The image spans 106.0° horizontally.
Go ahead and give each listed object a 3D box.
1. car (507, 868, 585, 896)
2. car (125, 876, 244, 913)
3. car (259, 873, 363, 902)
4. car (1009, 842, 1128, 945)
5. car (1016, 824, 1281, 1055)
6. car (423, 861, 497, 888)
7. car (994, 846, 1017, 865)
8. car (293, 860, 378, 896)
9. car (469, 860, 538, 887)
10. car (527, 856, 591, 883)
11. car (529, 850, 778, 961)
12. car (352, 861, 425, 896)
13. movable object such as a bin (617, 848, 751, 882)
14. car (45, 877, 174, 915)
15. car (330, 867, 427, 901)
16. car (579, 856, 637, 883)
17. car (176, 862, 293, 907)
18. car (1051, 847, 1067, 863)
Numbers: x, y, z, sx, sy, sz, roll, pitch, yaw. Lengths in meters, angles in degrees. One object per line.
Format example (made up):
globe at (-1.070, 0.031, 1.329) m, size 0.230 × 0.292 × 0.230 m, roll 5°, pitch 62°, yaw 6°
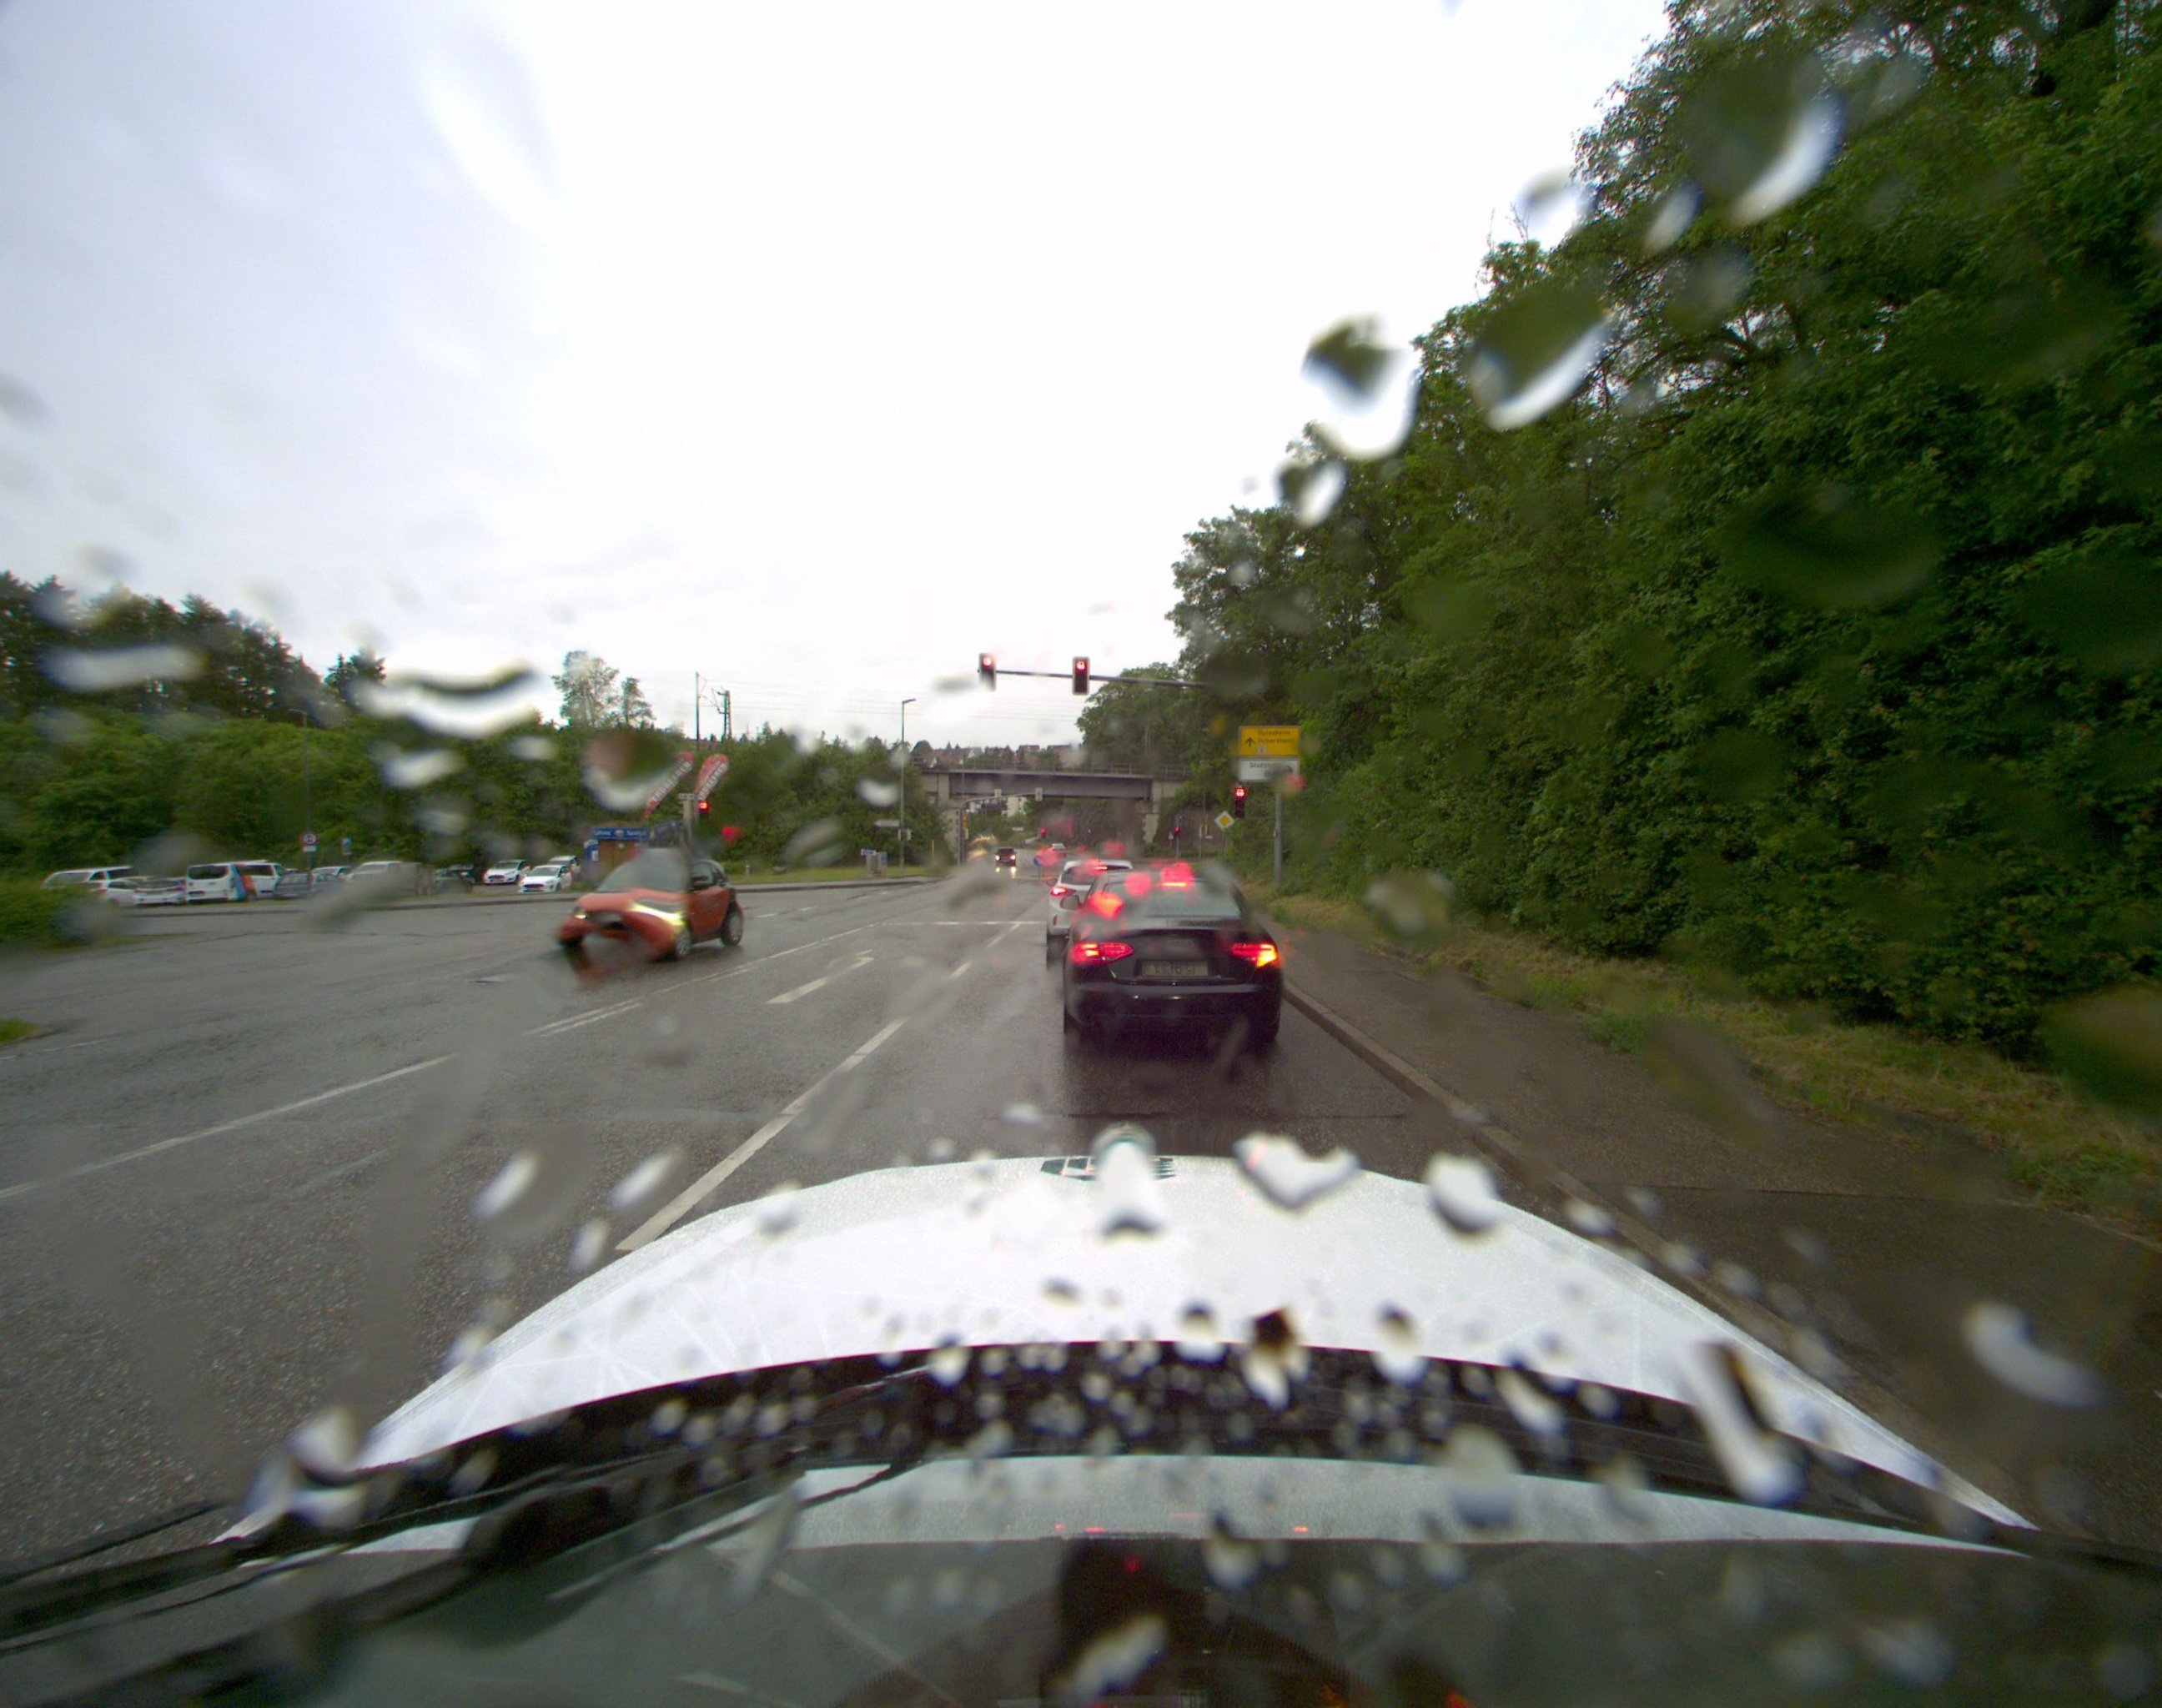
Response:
car at (-27.808, 1.410, 42.508) m, size 1.652 × 1.340 × 4.883 m, roll 0°, pitch -1°, yaw -11°
car at (-41.731, 1.850, 38.034) m, size 1.858 × 1.585 × 3.978 m, roll 0°, pitch -1°, yaw -16°
car at (-37.166, 1.588, 39.456) m, size 1.751 × 1.310 × 3.984 m, roll 0°, pitch -1°, yaw -11°
car at (-0.133, 0.646, 14.583) m, size 1.816 × 1.585 × 4.001 m, roll -1°, pitch -1°, yaw 2°
car at (0.546, 0.611, 7.844) m, size 1.863 × 1.616 × 4.001 m, roll -1°, pitch 0°, yaw 2°
car at (-37.952, 1.235, 49.894) m, size 1.994 × 1.585 × 3.984 m, roll 0°, pitch -1°, yaw -11°
car at (-6.984, 0.153, 75.588) m, size 1.990 × 1.628 × 3.993 m, roll -1°, pitch 0°, yaw -5°
car at (-44.772, 1.383, 49.032) m, size 1.995 × 2.013 × 3.983 m, roll -2°, pitch 0°, yaw -12°
car at (-35.463, 1.214, 50.151) m, size 1.994 × 1.585 × 3.984 m, roll 0°, pitch -1°, yaw -11°
car at (-32.614, 0.956, 51.055) m, size 1.994 × 1.585 × 3.985 m, roll -2°, pitch 0°, yaw -11°
car at (-6.900, 0.782, 13.740) m, size 1.986 × 1.585 × 4.001 m, roll -1°, pitch -1°, yaw 2°
car at (-42.172, 1.456, 49.710) m, size 1.941 × 2.013 × 3.849 m, roll 0°, pitch 0°, yaw -15°
movable object such as a bin at (-20.960, 0.577, 43.182) m, size 2.716 × 1.628 × 5.816 m, roll -2°, pitch -1°, yaw 41°
car at (-44.365, 1.884, 37.326) m, size 1.837 × 1.585 × 3.978 m, roll 0°, pitch -1°, yaw -16°
car at (-34.611, 1.439, 40.282) m, size 1.937 × 1.585 × 3.892 m, roll 0°, pitch -1°, yaw -11°
car at (-30.378, 0.959, 52.458) m, size 1.994 × 1.585 × 3.985 m, roll -2°, pitch 0°, yaw -11°
car at (-39.443, 1.379, 38.112) m, size 1.997 × 1.949 × 3.978 m, roll 0°, pitch -1°, yaw -16°
car at (-2.579, 0.170, 93.811) m, size 1.800 × 1.742 × 4.475 m, roll -1°, pitch -1°, yaw -3°
